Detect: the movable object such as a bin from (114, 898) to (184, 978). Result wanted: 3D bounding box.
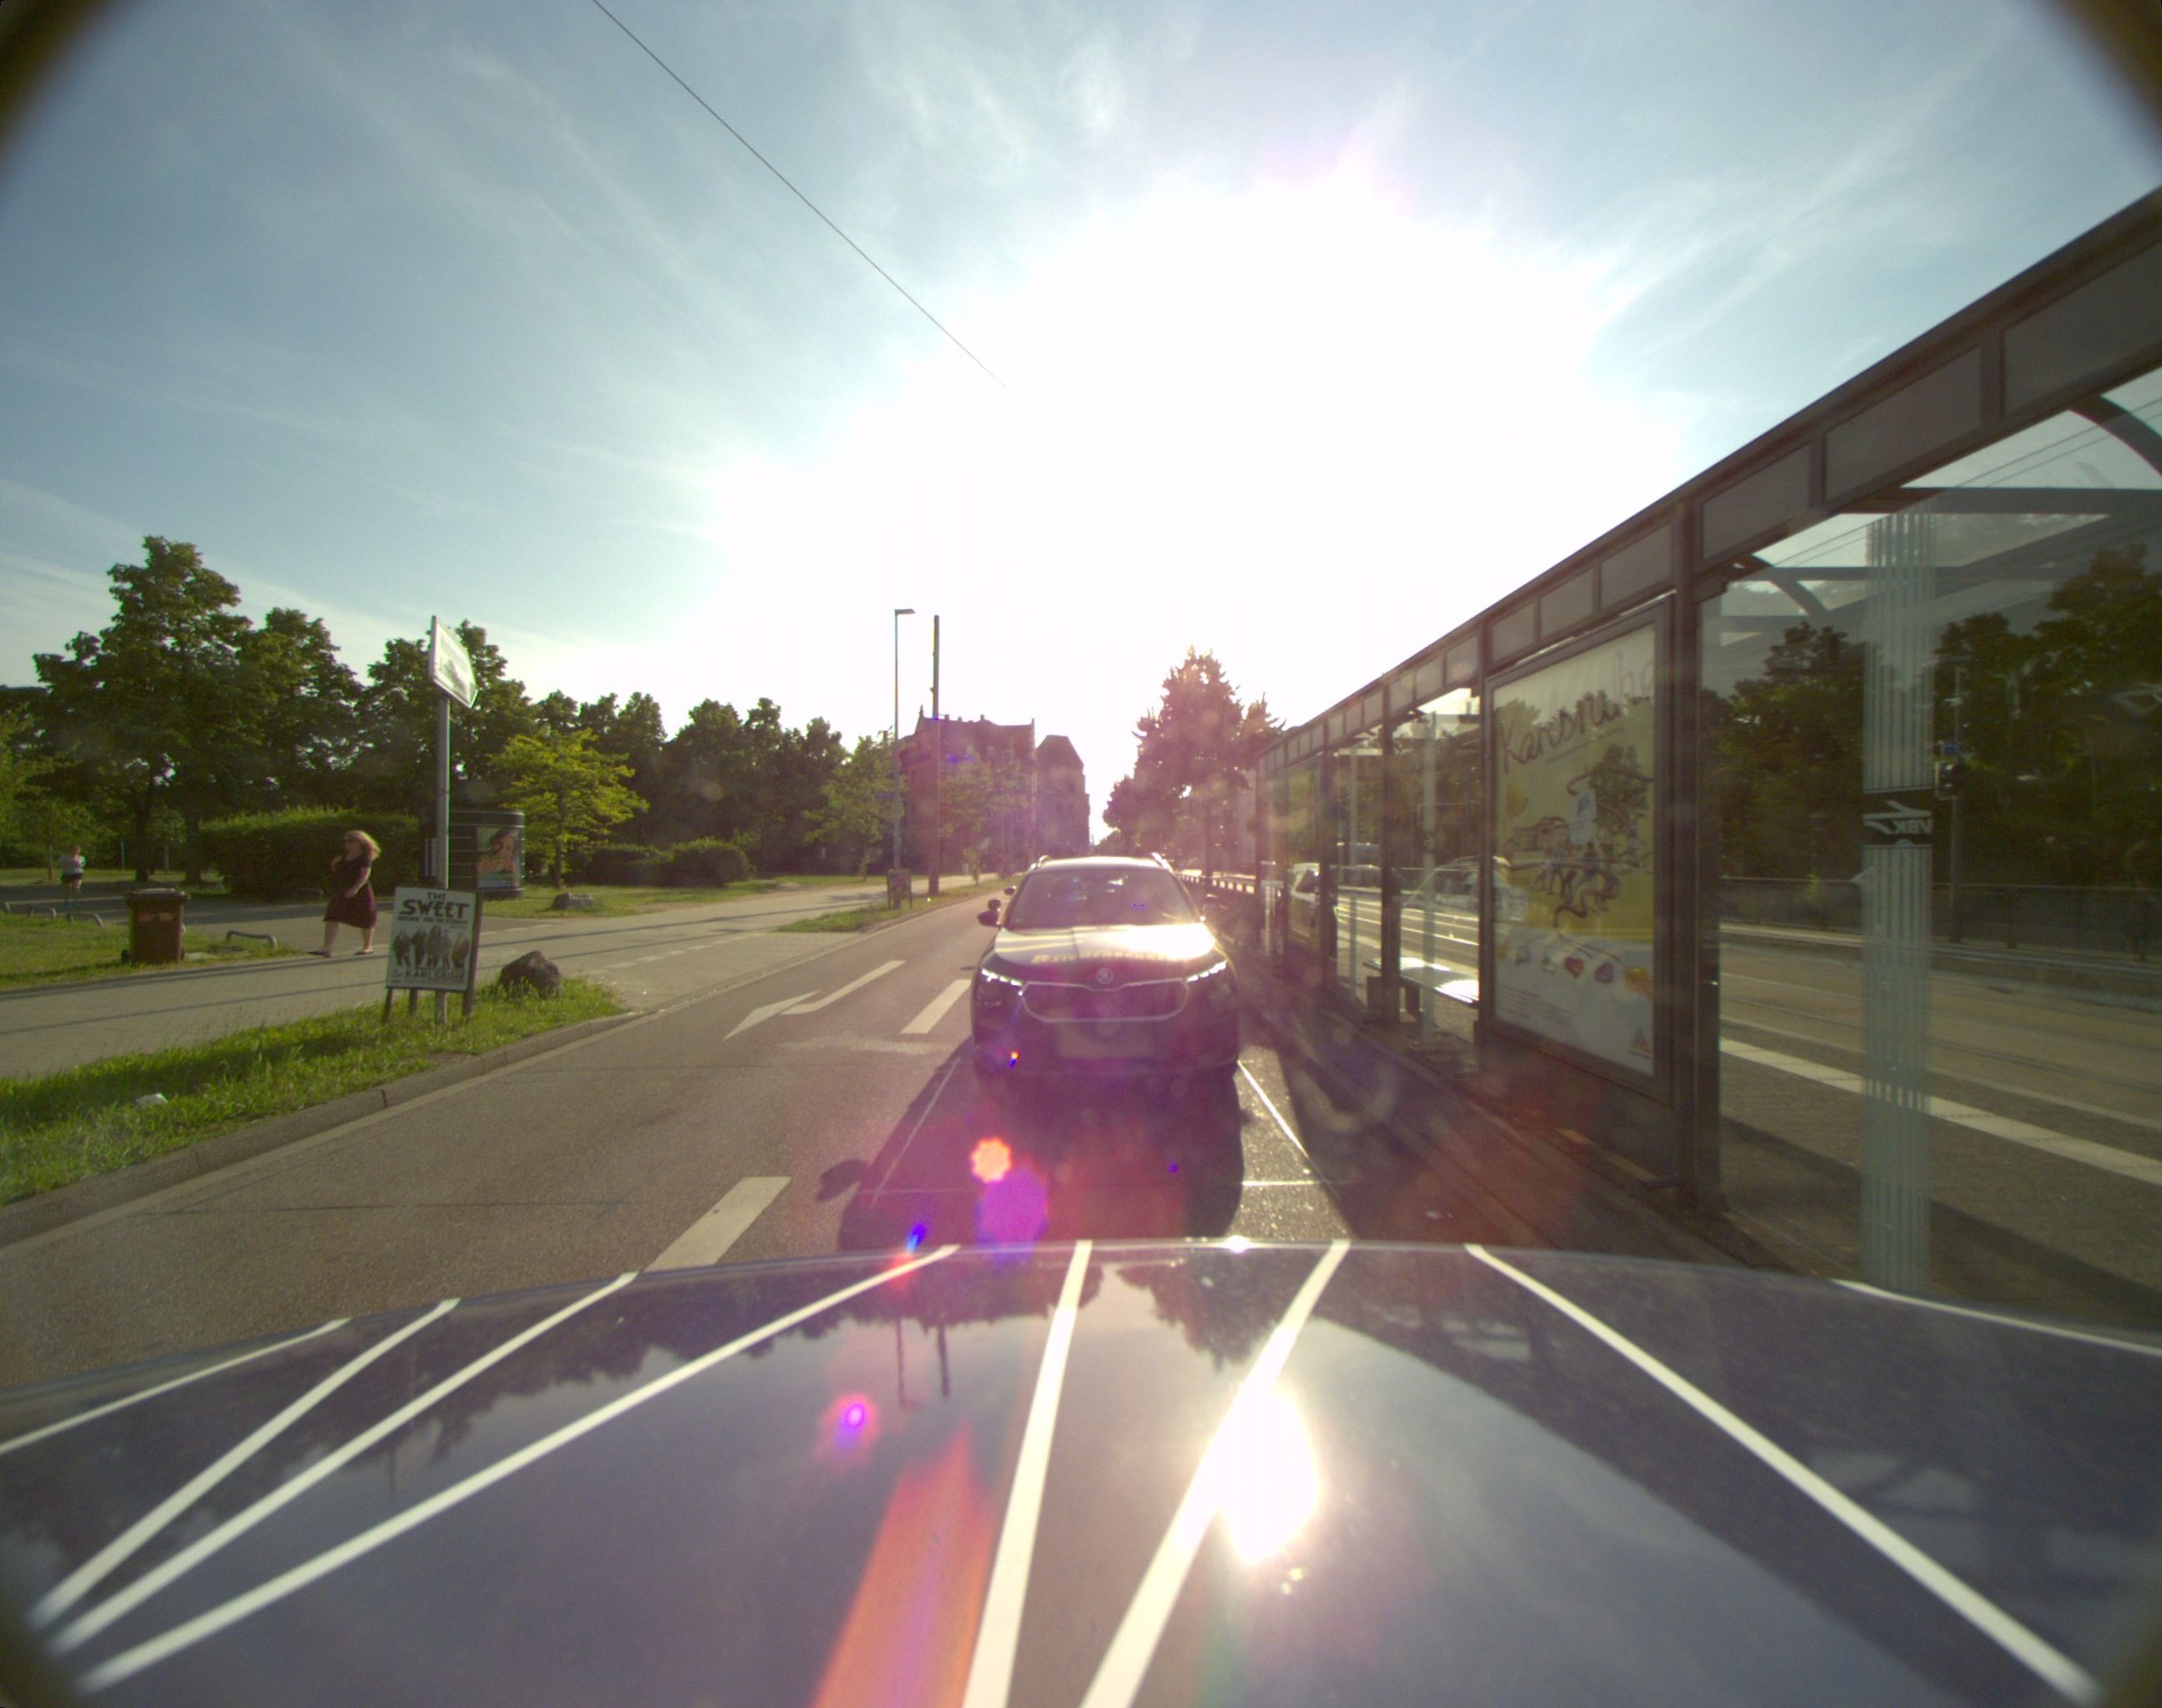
[{"bbox_3d":[-11.344,1.008,9.258,0.502,0.898,0.526,1,1,39],"label":"movable object such as a bin"}]

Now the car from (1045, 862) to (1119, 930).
[{"bbox_3d":[0.047,0.963,19.083,1.672,1.496,3.872,0,0,1],"label":"car"}]

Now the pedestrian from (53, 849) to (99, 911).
[{"bbox_3d":[-27.031,0.691,20.441,0.660,1.641,0.623,0,1,26],"label":"pedestrian"}]

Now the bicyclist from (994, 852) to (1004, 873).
[{"bbox_3d":[-6.860,0.708,63.485,0.730,1.763,1.015,0,0,0],"label":"bicyclist"}]

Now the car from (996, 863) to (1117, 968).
[{"bbox_3d":[-0.332,0.931,13.239,1.781,1.496,4.000,0,0,1],"label":"car"}]

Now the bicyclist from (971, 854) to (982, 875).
[{"bbox_3d":[-8.660,0.854,62.994,0.753,1.763,1.119,0,0,3],"label":"bicyclist"}]

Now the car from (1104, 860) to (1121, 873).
[{"bbox_3d":[4.132,1.587,101.181,1.999,1.674,3.999,0,0,-1],"label":"car"}]

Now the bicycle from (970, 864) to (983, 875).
[{"bbox_3d":[-8.660,1.276,62.997,0.740,0.912,2.095,0,0,2],"label":"bicycle"}]

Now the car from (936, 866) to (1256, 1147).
[{"bbox_3d":[0.105,0.884,6.241,1.781,1.496,4.000,0,0,1],"label":"car"}]

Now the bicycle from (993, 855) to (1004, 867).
[{"bbox_3d":[-6.858,0.571,63.446,0.740,0.912,2.094,0,0,0],"label":"bicycle"}]

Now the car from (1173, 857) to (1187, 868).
[{"bbox_3d":[18.245,1.591,139.693,1.998,2.002,4.000,0,0,0],"label":"car"}]

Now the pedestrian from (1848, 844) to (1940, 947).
[{"bbox_3d":[13.182,0.653,12.346,0.736,1.618,0.689,0,1,1],"label":"pedestrian"}]

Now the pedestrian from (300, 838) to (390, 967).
[{"bbox_3d":[-9.941,0.635,10.287,0.558,1.691,0.662,0,1,0],"label":"pedestrian"}]
